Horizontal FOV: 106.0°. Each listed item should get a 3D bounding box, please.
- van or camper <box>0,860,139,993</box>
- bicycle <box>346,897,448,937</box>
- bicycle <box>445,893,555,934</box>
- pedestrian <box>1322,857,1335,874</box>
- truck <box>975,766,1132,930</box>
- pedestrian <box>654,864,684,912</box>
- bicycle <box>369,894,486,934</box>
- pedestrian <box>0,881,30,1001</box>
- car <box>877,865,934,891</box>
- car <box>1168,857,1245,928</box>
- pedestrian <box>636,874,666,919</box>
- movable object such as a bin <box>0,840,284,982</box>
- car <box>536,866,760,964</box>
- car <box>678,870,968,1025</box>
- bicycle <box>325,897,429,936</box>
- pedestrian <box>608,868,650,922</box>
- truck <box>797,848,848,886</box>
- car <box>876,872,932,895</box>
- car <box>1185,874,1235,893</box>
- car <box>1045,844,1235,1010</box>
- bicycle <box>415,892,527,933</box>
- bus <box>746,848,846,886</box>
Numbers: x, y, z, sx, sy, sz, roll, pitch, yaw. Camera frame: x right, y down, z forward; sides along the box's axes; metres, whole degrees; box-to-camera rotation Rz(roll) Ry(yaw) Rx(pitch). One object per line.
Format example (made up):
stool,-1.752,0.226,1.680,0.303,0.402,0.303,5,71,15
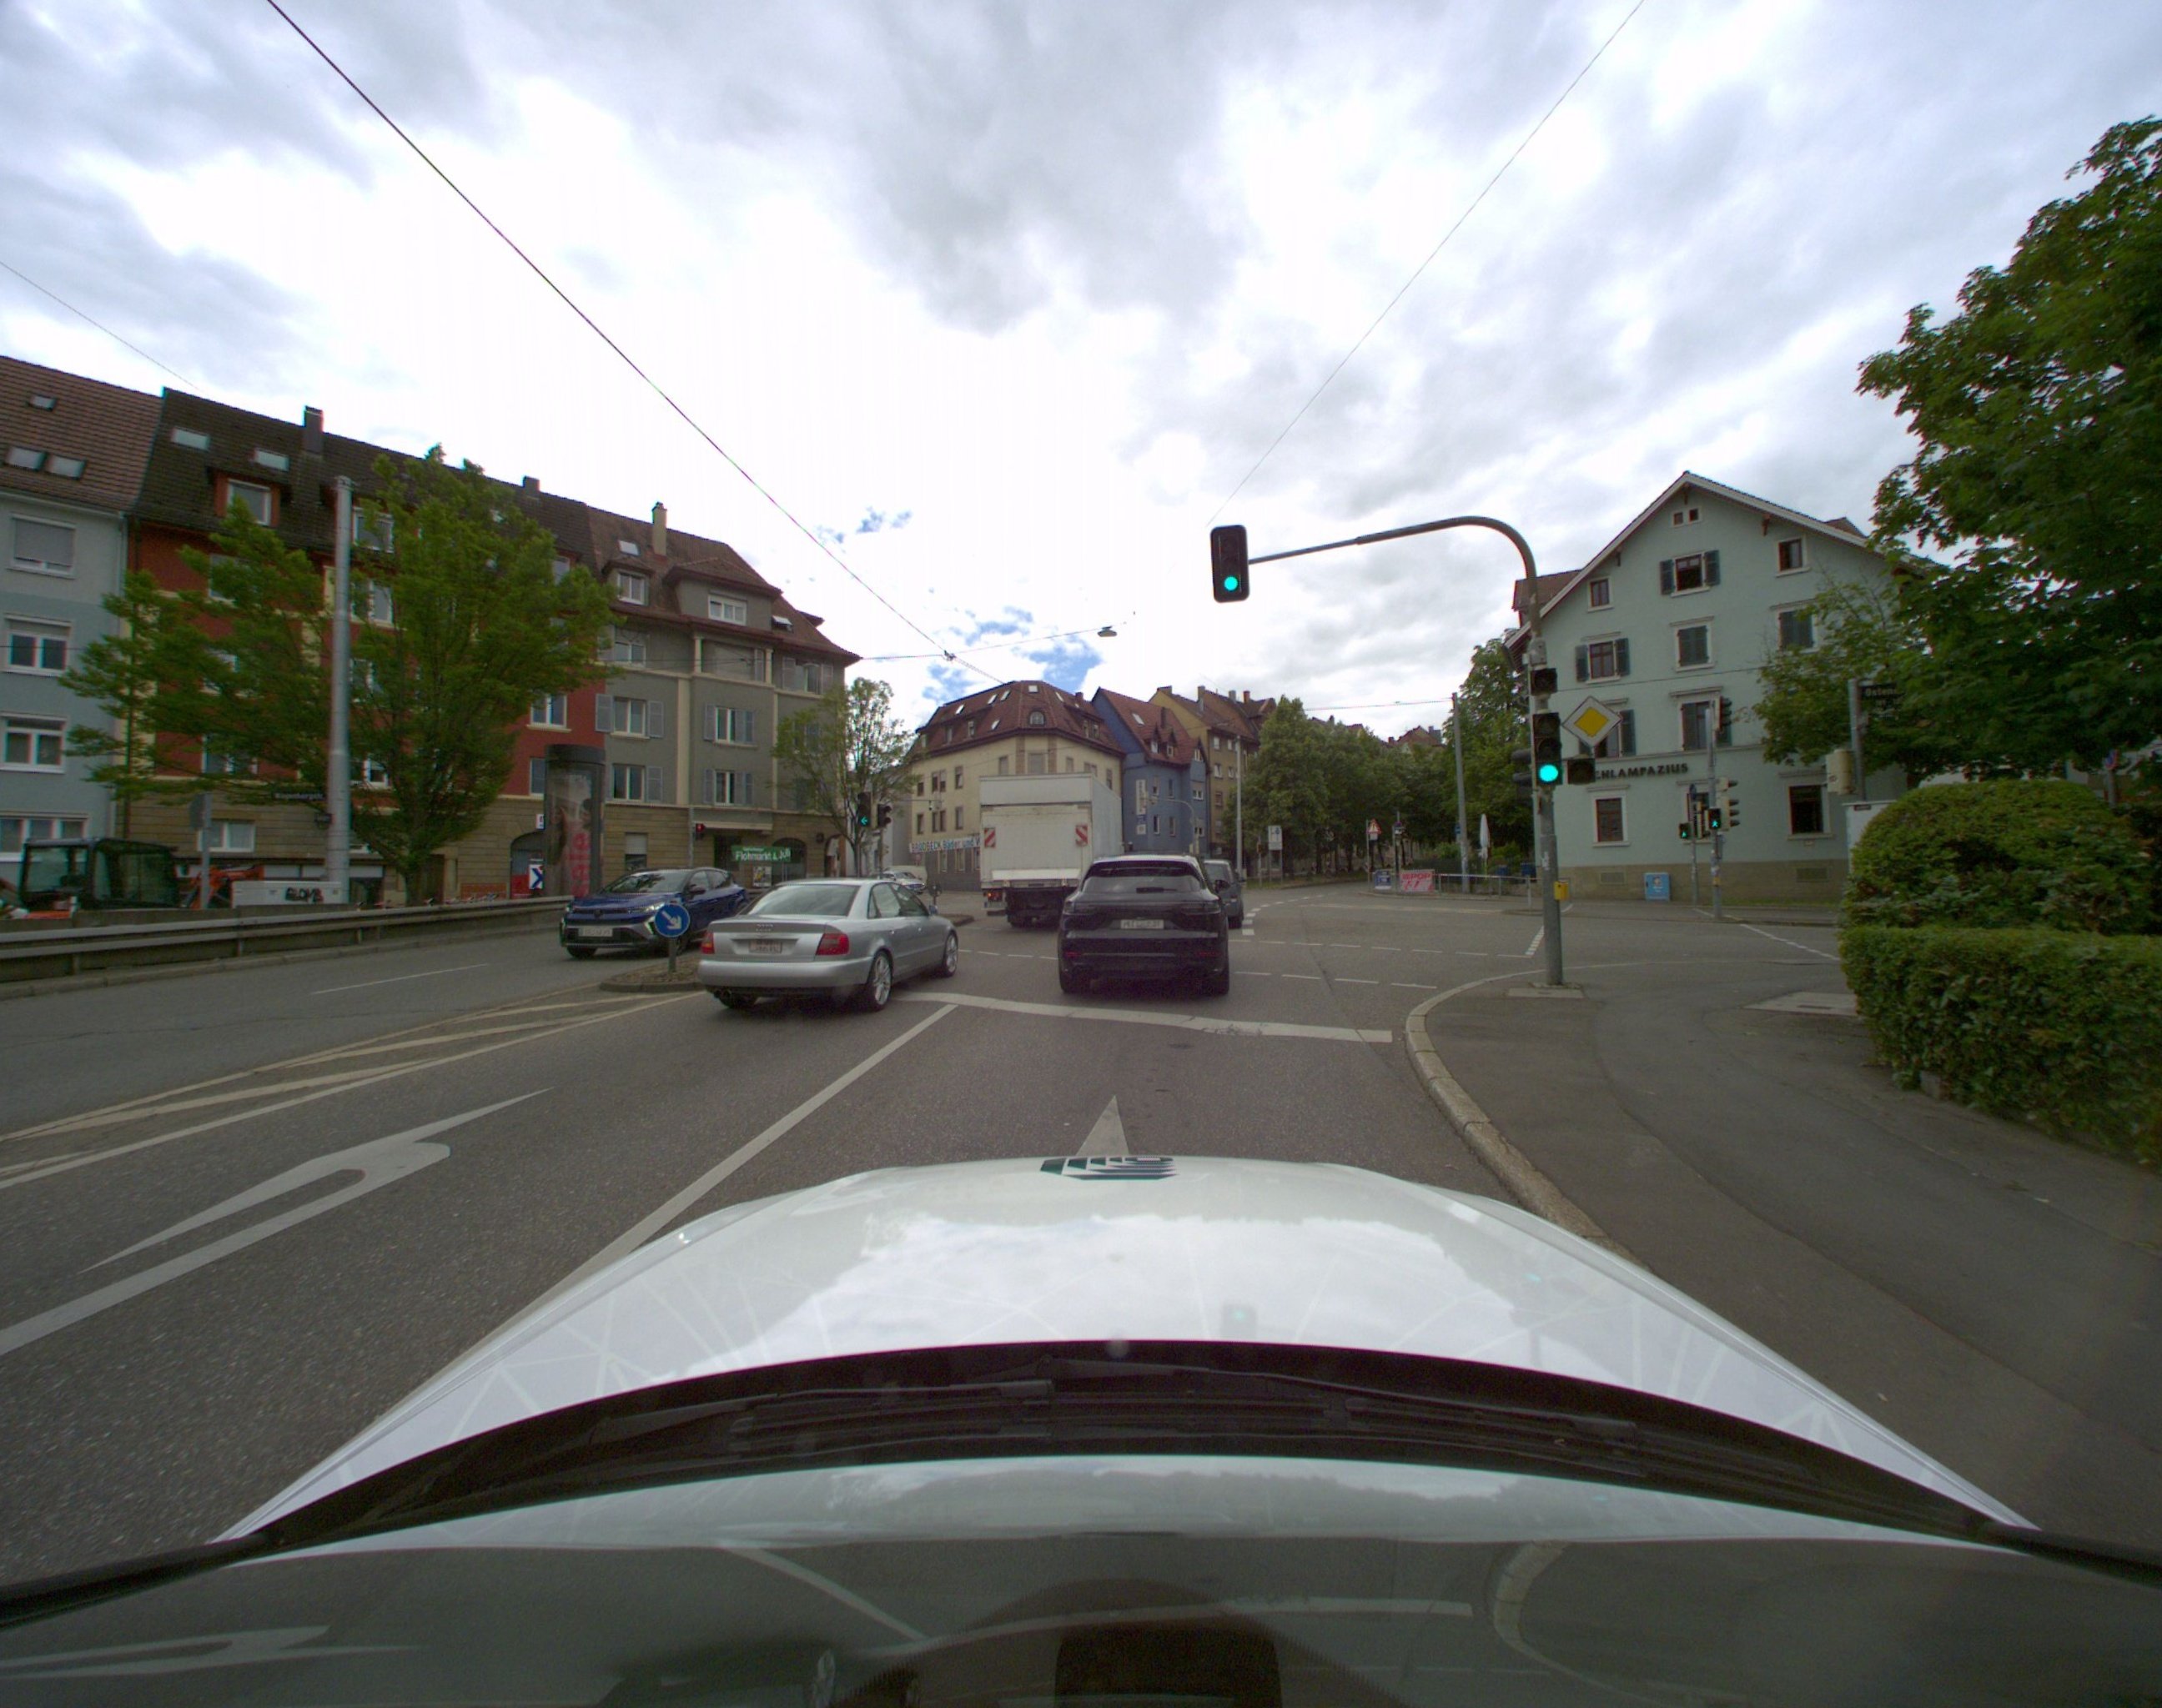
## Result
van or camper,-21.321,1.301,14.147,6.035,2.338,2.658,0,-1,-38
bicycle,-23.827,2.162,28.472,0.811,1.202,2.843,-1,-1,12
bicycle,-19.625,1.974,27.649,0.811,1.202,3.369,-1,-1,12
pedestrian,28.529,1.329,93.937,1.180,2.014,0.995,-1,-1,36
truck,-0.360,-0.076,21.991,2.709,3.544,8.441,-1,-1,9
pedestrian,-13.069,1.062,25.837,0.518,1.487,0.656,-1,-1,18
bicycle,-22.577,2.040,28.286,0.897,1.202,3.369,-1,-1,12
pedestrian,-18.650,1.485,13.848,0.831,2.014,0.672,0,-1,-42
car,-13.117,1.769,60.730,4.281,1.799,2.077,-2,-1,44
car,3.139,0.879,19.833,1.637,1.556,3.594,0,-1,12
pedestrian,-13.280,1.311,25.168,0.569,1.338,0.587,-1,-1,18
movable object such as a bin,-15.383,0.843,13.612,1.377,2.014,3.517,-1,-1,-15
car,-7.705,1.003,14.996,1.779,1.531,4.039,-1,-1,3
car,-2.707,0.904,9.652,1.619,1.365,4.137,0,0,8
bicycle,-24.684,2.168,28.639,0.811,1.202,2.843,-1,-1,12
pedestrian,-13.503,1.214,24.338,0.786,1.546,0.742,-1,-1,19
truck,-23.900,1.219,75.285,2.712,3.354,5.376,2,-2,-39
car,-11.824,1.943,54.331,1.891,1.470,3.926,1,-3,-43
car,10.471,2.381,65.883,1.852,1.416,4.727,-3,-3,38
car,0.939,0.765,10.959,2.020,1.723,4.510,1,0,8
bicycle,-20.787,1.971,27.898,0.811,1.202,3.369,-1,-1,12
bus,-25.160,1.164,71.360,11.998,3.096,3.186,-1,-2,43
